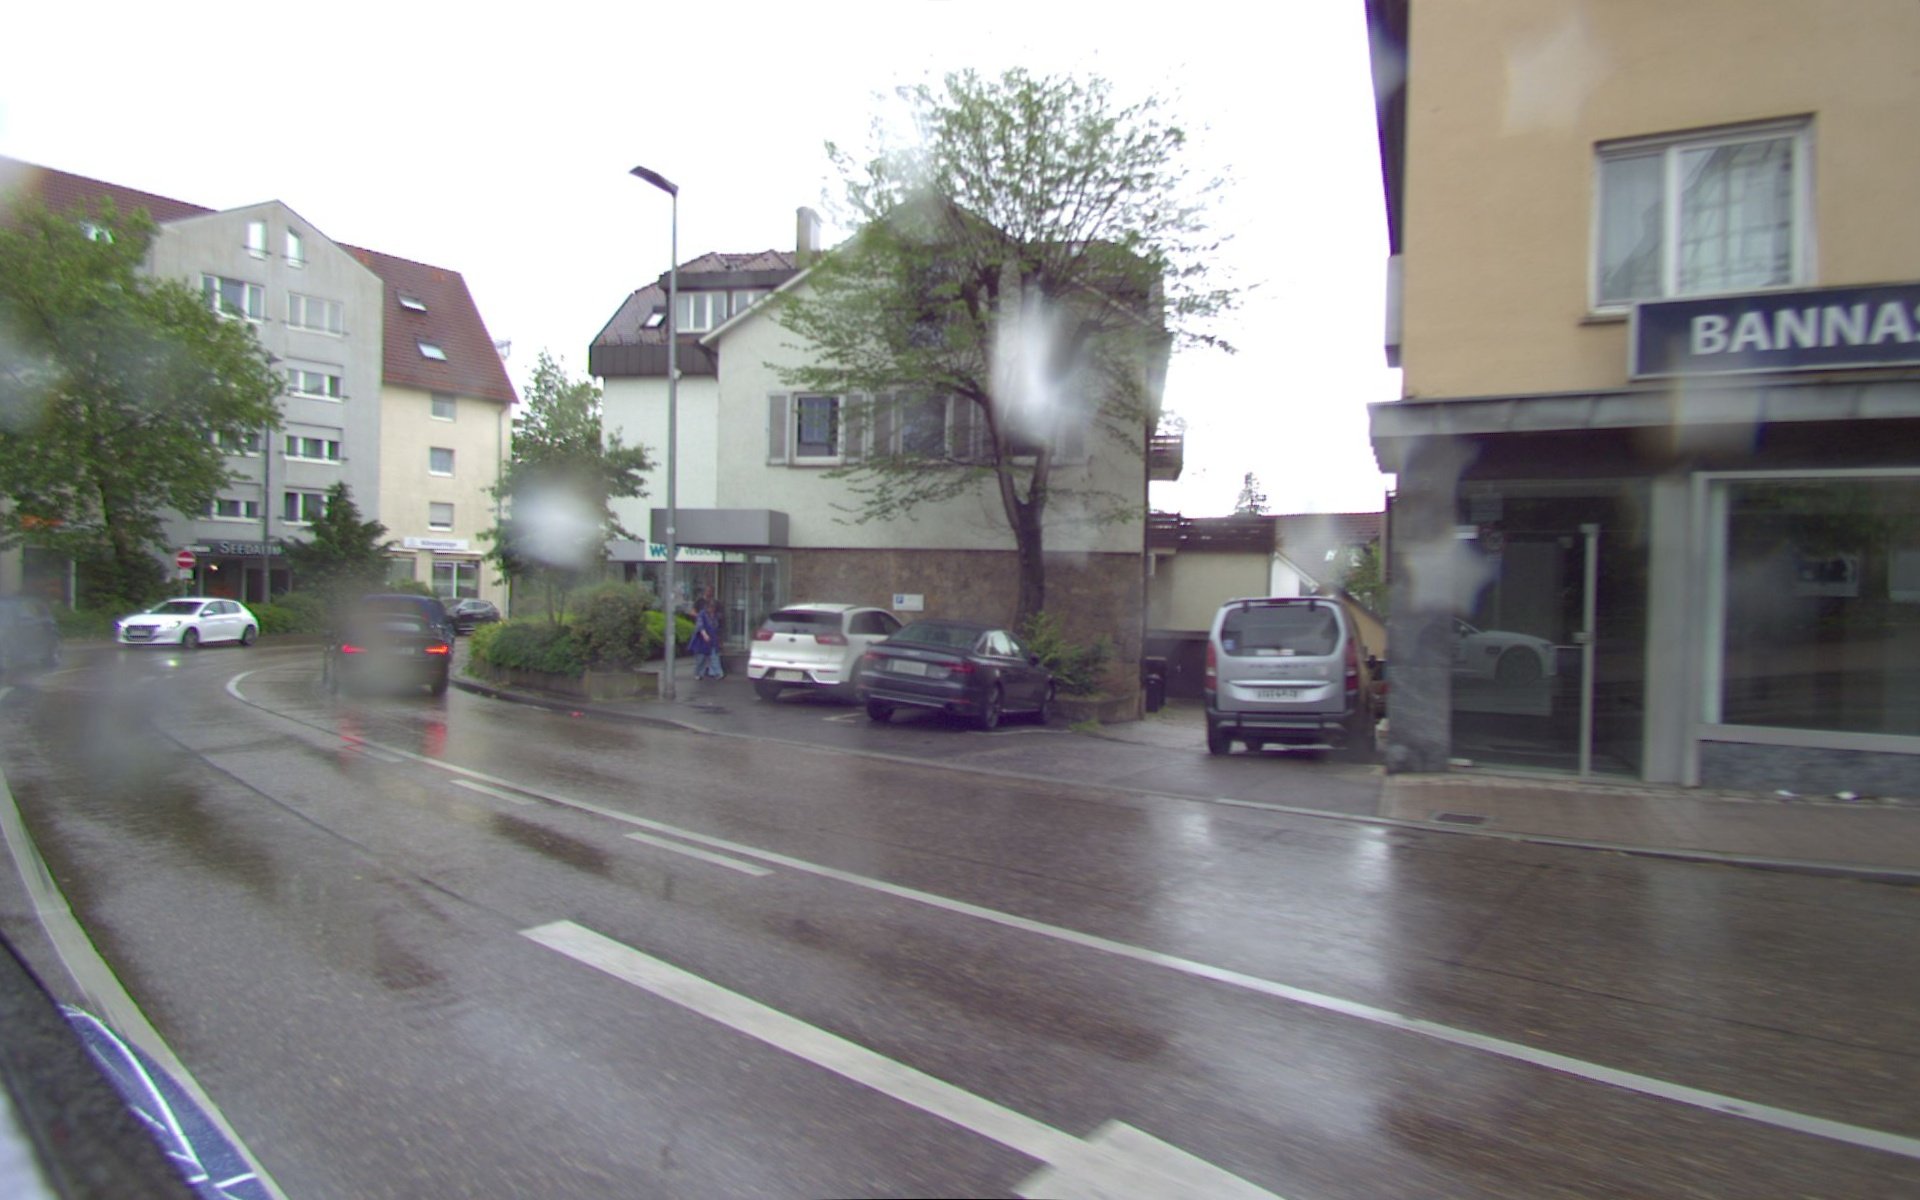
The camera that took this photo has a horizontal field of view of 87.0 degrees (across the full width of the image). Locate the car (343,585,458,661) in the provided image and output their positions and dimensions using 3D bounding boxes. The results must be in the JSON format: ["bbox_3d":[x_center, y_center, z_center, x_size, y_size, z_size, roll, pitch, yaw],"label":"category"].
[{"bbox_3d":[-15.188,0.609,27.729,1.966,1.896,4.391,1,-1,-19],"label":"car"}]

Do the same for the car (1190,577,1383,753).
[{"bbox_3d":[4.433,0.977,13.227,1.950,1.839,4.895,-2,-7,23],"label":"car"}]

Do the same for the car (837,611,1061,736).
[{"bbox_3d":[0.016,0.992,14.386,1.886,1.465,3.973,1,-3,20],"label":"car"}]

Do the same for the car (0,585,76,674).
[{"bbox_3d":[-18.946,0.520,19.444,1.744,1.544,4.393,1,1,-25],"label":"car"}]

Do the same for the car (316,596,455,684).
[{"bbox_3d":[-10.506,0.732,18.360,1.836,1.398,4.273,2,-3,-34],"label":"car"}]

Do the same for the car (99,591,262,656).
[{"bbox_3d":[-22.725,0.631,29.714,1.788,1.577,4.003,5,2,-3],"label":"car"}]

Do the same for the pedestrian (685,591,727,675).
[{"bbox_3d":[-4.901,0.641,19.542,0.539,1.587,0.654,-1,-3,11],"label":"pedestrian"}]

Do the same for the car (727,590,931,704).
[{"bbox_3d":[-2.035,0.719,16.827,1.984,1.641,3.623,1,-1,18],"label":"car"}]
